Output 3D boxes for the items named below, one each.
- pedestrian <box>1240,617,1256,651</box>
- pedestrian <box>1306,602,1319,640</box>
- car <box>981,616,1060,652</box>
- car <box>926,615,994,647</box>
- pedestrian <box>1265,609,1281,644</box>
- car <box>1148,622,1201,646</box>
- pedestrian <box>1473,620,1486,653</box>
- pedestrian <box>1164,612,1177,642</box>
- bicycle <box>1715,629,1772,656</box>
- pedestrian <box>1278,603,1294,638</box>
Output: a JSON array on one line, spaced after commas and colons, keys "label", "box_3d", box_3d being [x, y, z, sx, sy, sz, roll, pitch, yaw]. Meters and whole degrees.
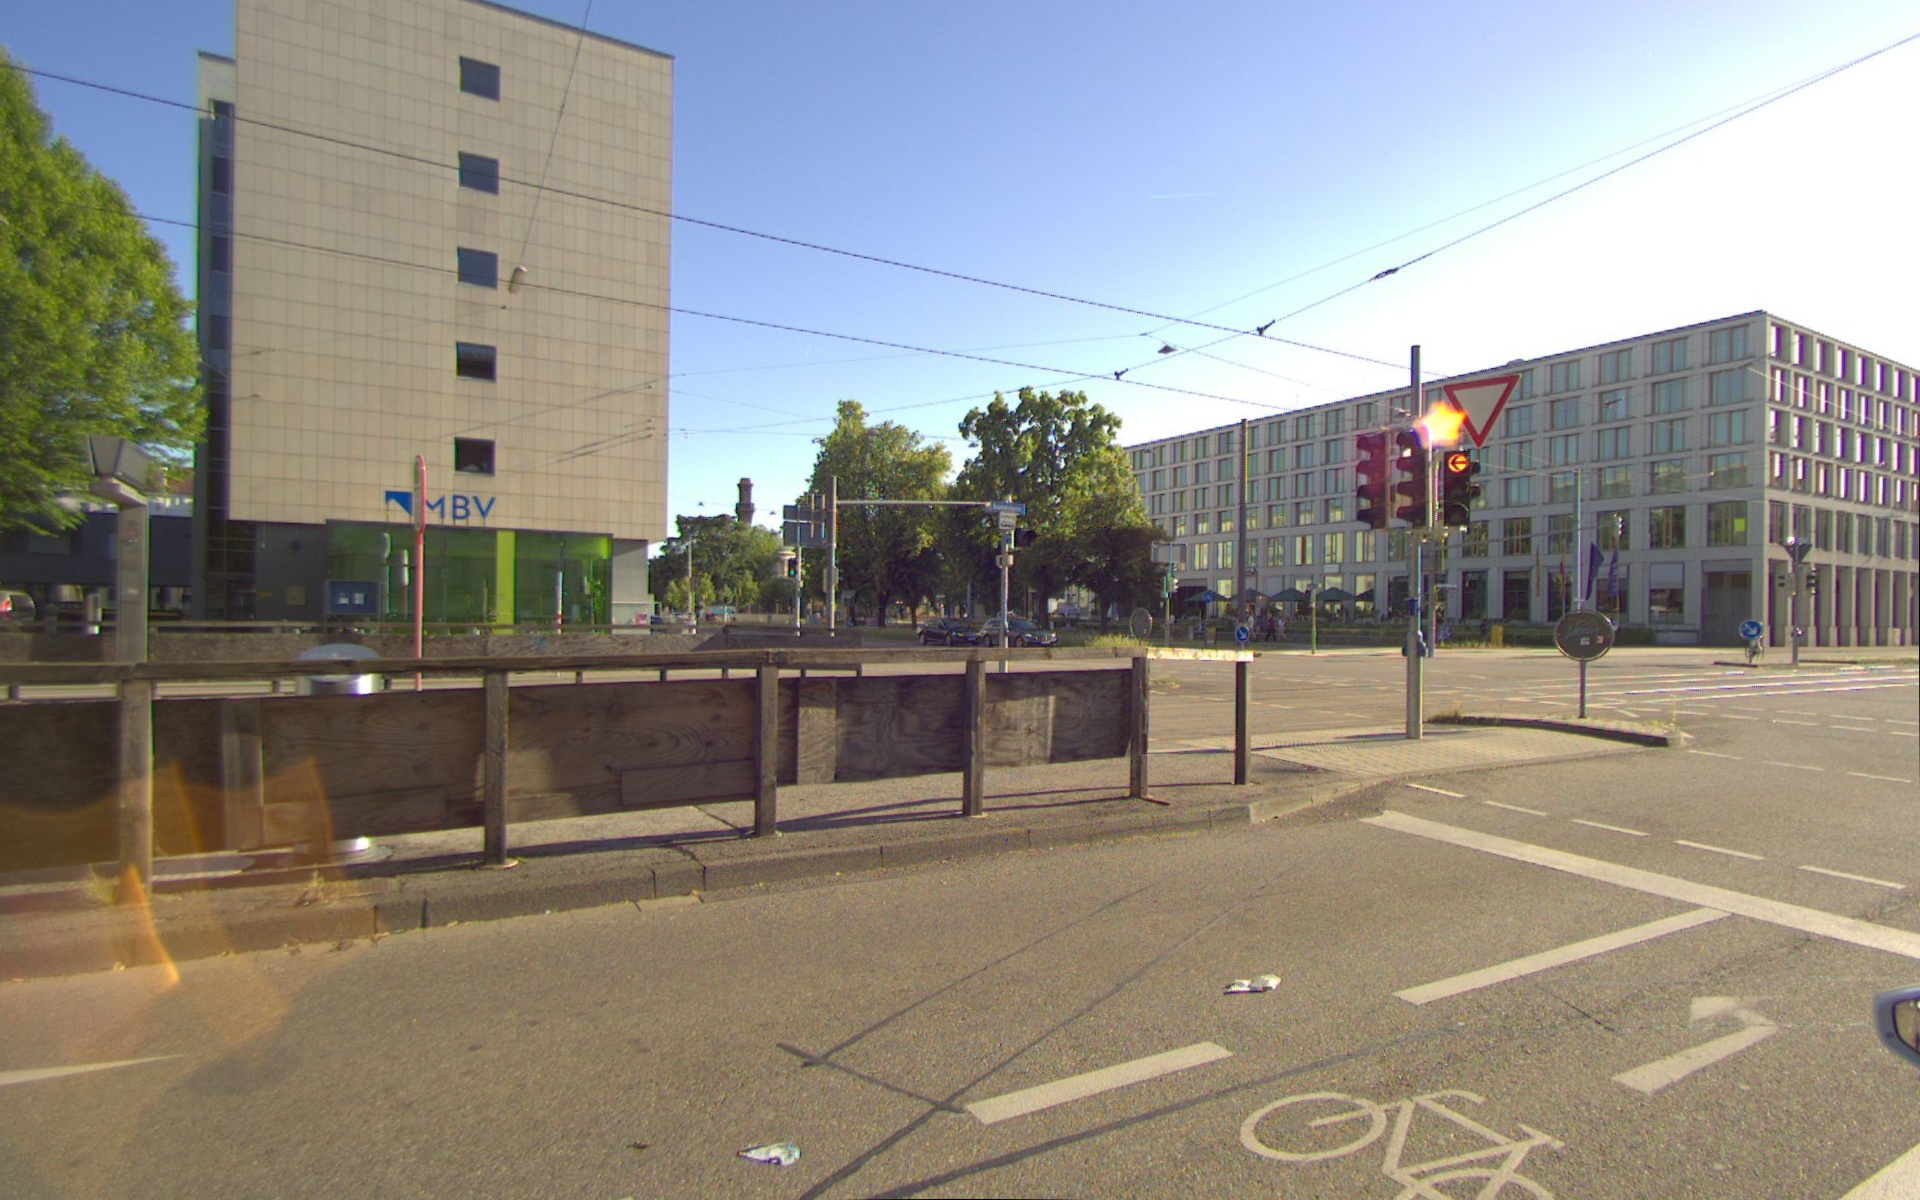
[{"label": "pedestrian", "box_3d": [17.307, 2.034, 60.384, 0.793, 2.040, 0.526, 1, -1, -36]}, {"label": "pedestrian", "box_3d": [21.127, 1.262, 60.222, 0.528, 2.310, 0.565, 1, -1, -36]}, {"label": "car", "box_3d": [2.813, 1.578, 47.561, 1.708, 1.595, 4.140, 1, -1, -31]}, {"label": "car", "box_3d": [-0.028, 1.594, 52.675, 1.801, 1.595, 3.967, 0, 0, -31]}, {"label": "pedestrian", "box_3d": [18.610, 1.573, 59.690, 0.793, 2.040, 0.526, 1, -1, -36]}, {"label": "car", "box_3d": [13.484, 2.125, 63.292, 1.456, 1.457, 3.164, 1, -1, -35]}, {"label": "pedestrian", "box_3d": [32.339, 2.269, 62.479, 0.386, 2.040, 0.606, 1, -1, -29]}, {"label": "pedestrian", "box_3d": [13.730, 1.779, 65.507, 0.672, 1.928, 0.560, 1, -1, -21]}, {"label": "bicycle", "box_3d": [34.115, 1.839, 43.739, 2.976, 1.136, 0.871, 1, -1, -29]}, {"label": "pedestrian", "box_3d": [19.311, 1.198, 59.545, 0.793, 2.040, 0.526, 1, -1, -36]}]
